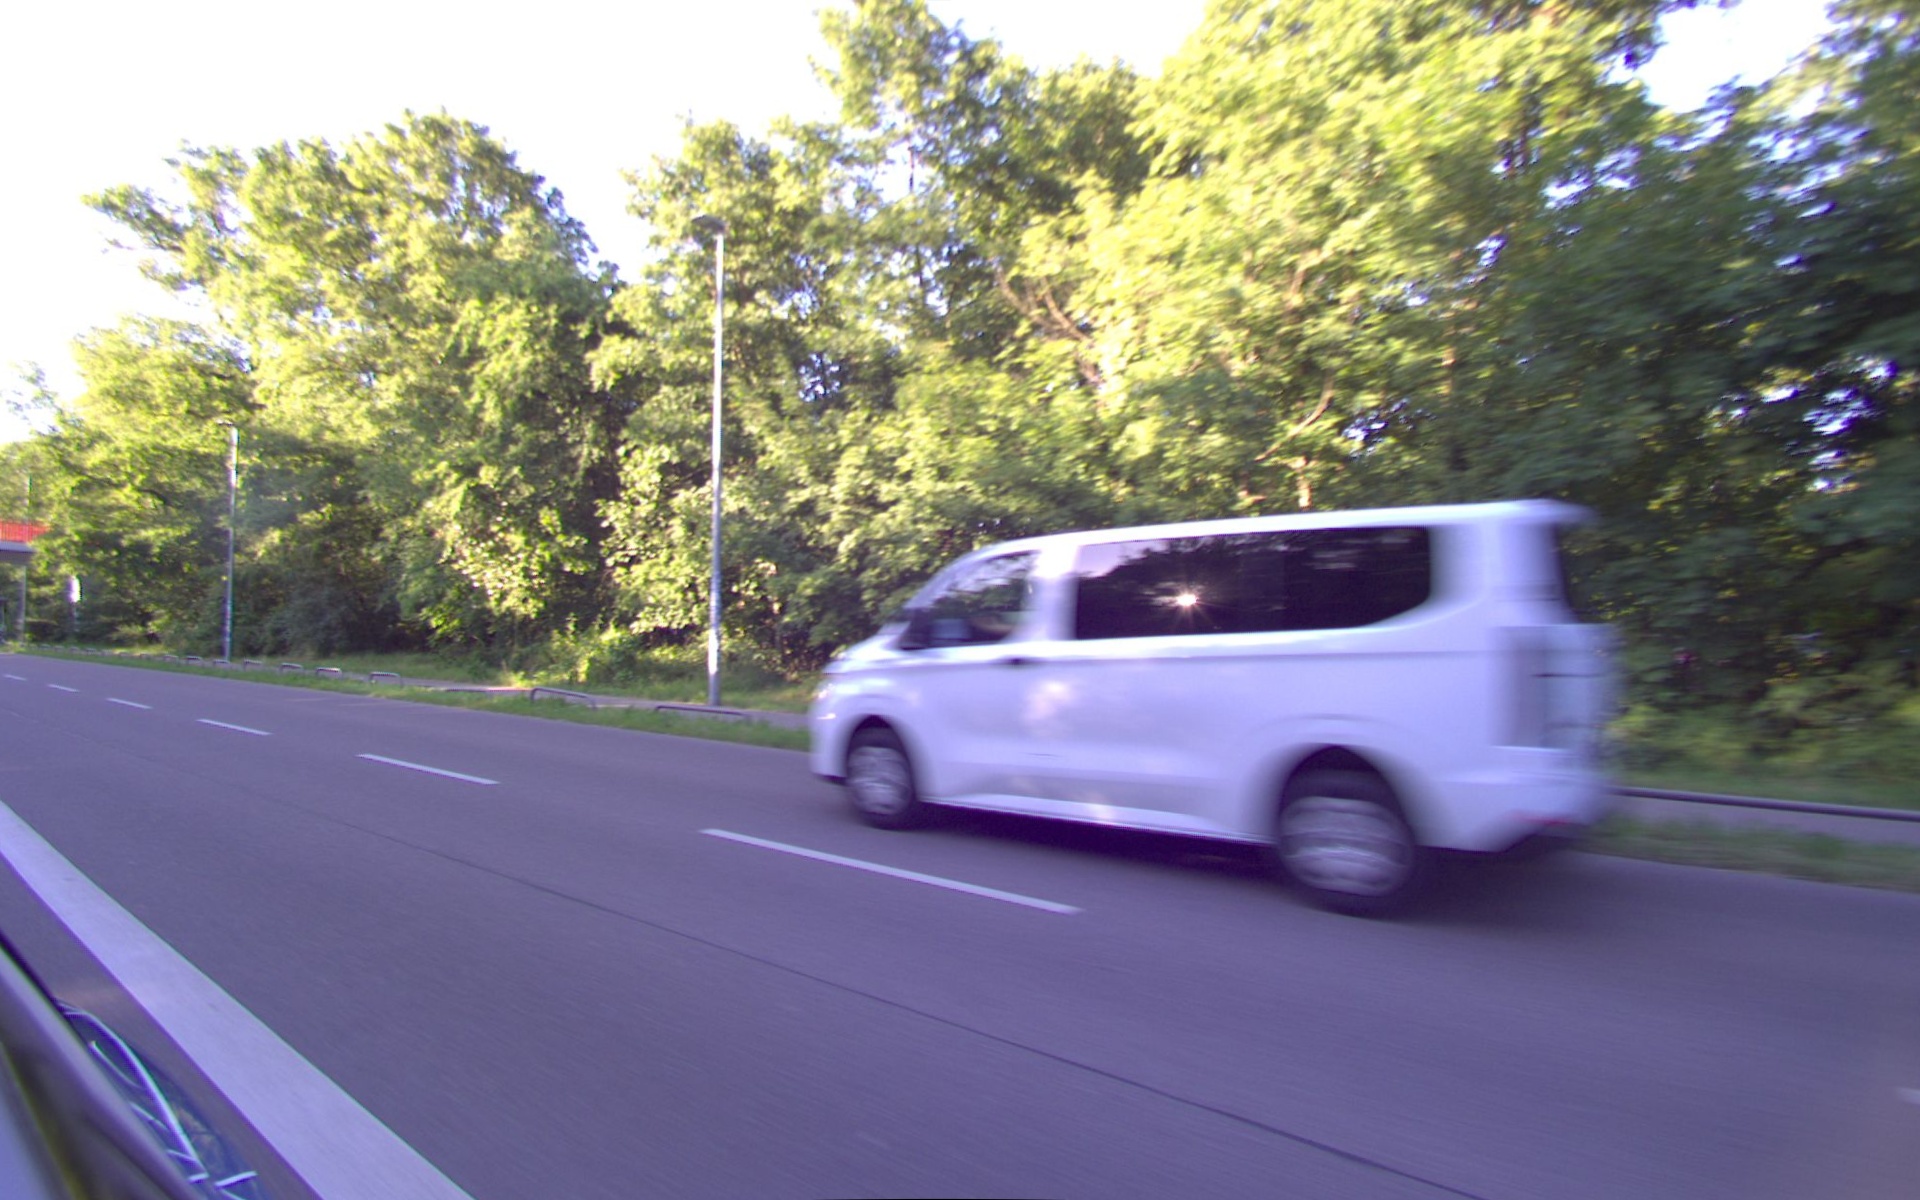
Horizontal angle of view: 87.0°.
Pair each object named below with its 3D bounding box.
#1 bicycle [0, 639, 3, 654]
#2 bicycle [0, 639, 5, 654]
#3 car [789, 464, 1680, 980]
[{"bbox_3d":[-62.554,2.963,64.746,1.904,0.941,0.825,2,-3,-44],"label":"bicycle"},{"bbox_3d":[-61.595,2.926,63.868,1.904,0.941,0.825,2,-3,-44],"label":"bicycle"},{"bbox_3d":[1.347,0.497,6.297,4.992,2.007,1.974,-1,-1,39],"label":"car"}]
